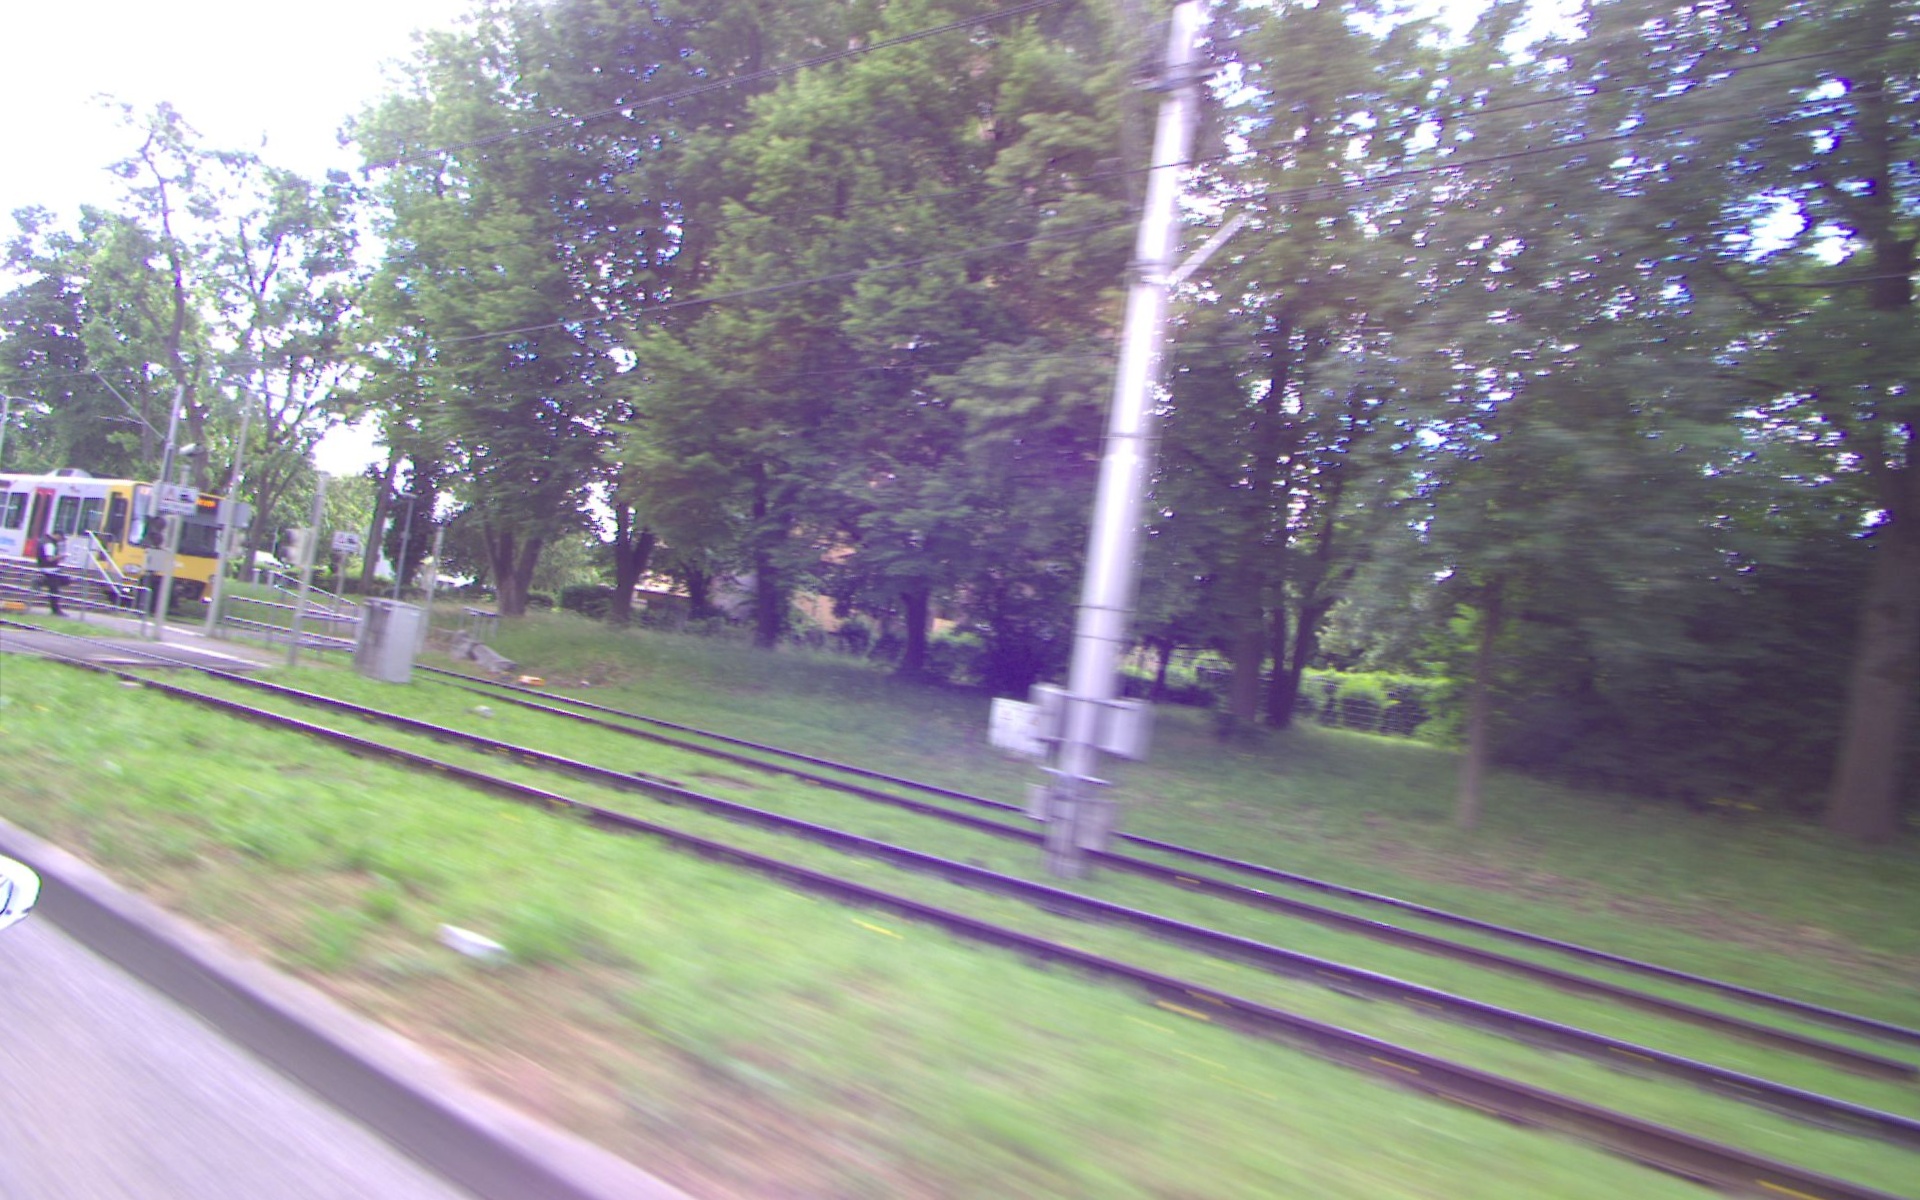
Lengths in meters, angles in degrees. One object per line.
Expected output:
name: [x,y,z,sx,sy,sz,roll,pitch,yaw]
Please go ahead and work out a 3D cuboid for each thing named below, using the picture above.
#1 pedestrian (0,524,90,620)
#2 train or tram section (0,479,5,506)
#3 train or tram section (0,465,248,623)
pedestrian: [-18.809,-0.561,20.641,0.716,1.776,0.989,7,-3,20]
train or tram section: [-45.451,-3.668,41.255,18.604,3.838,2.824,6,-4,28]
train or tram section: [-29.259,-2.127,32.299,18.222,3.776,2.823,5,-4,31]
